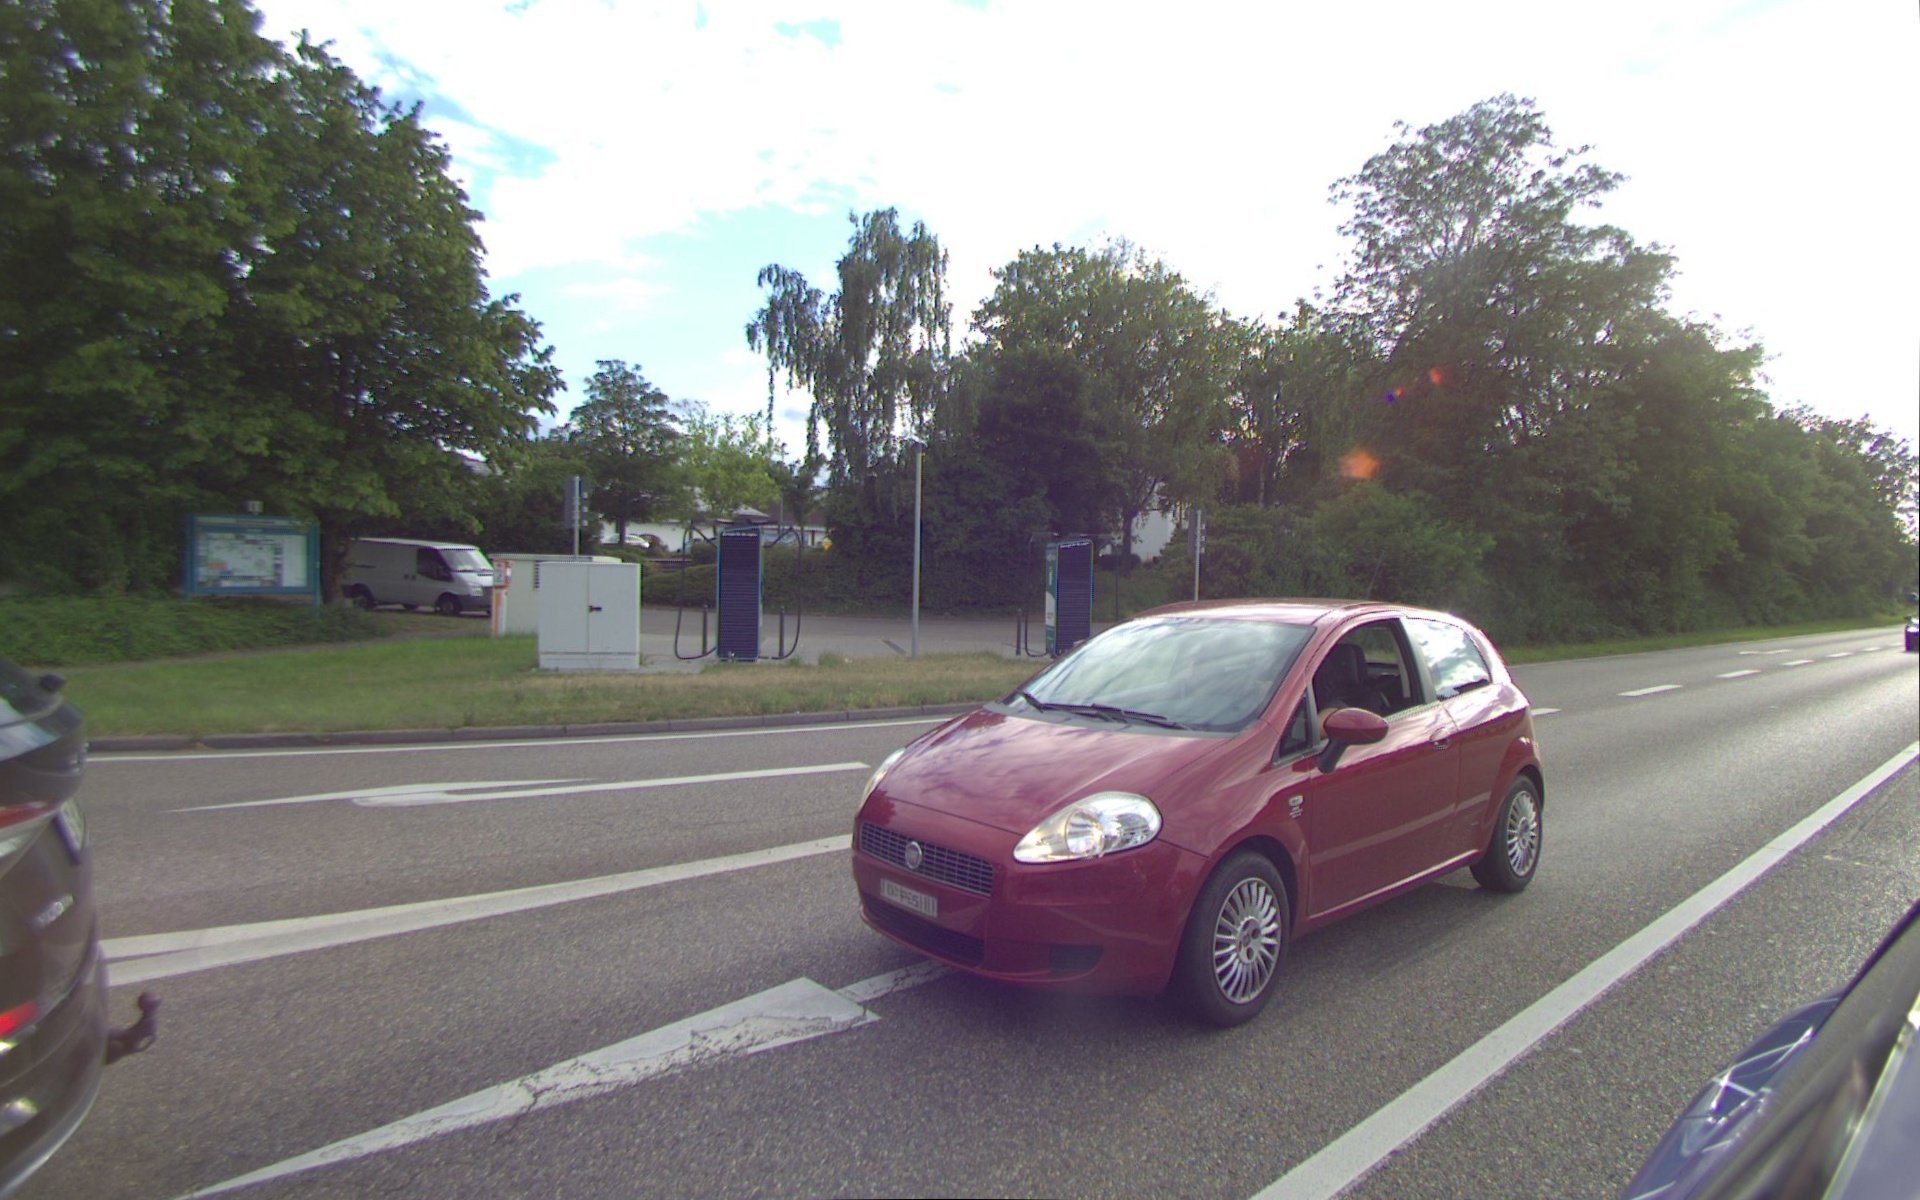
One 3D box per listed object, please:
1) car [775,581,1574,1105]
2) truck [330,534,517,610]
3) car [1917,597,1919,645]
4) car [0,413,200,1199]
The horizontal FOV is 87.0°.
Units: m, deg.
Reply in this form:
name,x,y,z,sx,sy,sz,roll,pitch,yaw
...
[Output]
name,x,y,z,sx,sy,sz,roll,pitch,yaw
car,1.270,0.658,4.740,3.925,1.450,1.665,0,1,-42
truck,-14.950,-0.780,28.251,4.602,2.022,1.816,1,0,14
car,30.909,0.627,31.211,3.931,1.433,1.699,0,1,-42
car,-3.553,0.545,0.969,4.403,1.671,1.847,0,0,-42
